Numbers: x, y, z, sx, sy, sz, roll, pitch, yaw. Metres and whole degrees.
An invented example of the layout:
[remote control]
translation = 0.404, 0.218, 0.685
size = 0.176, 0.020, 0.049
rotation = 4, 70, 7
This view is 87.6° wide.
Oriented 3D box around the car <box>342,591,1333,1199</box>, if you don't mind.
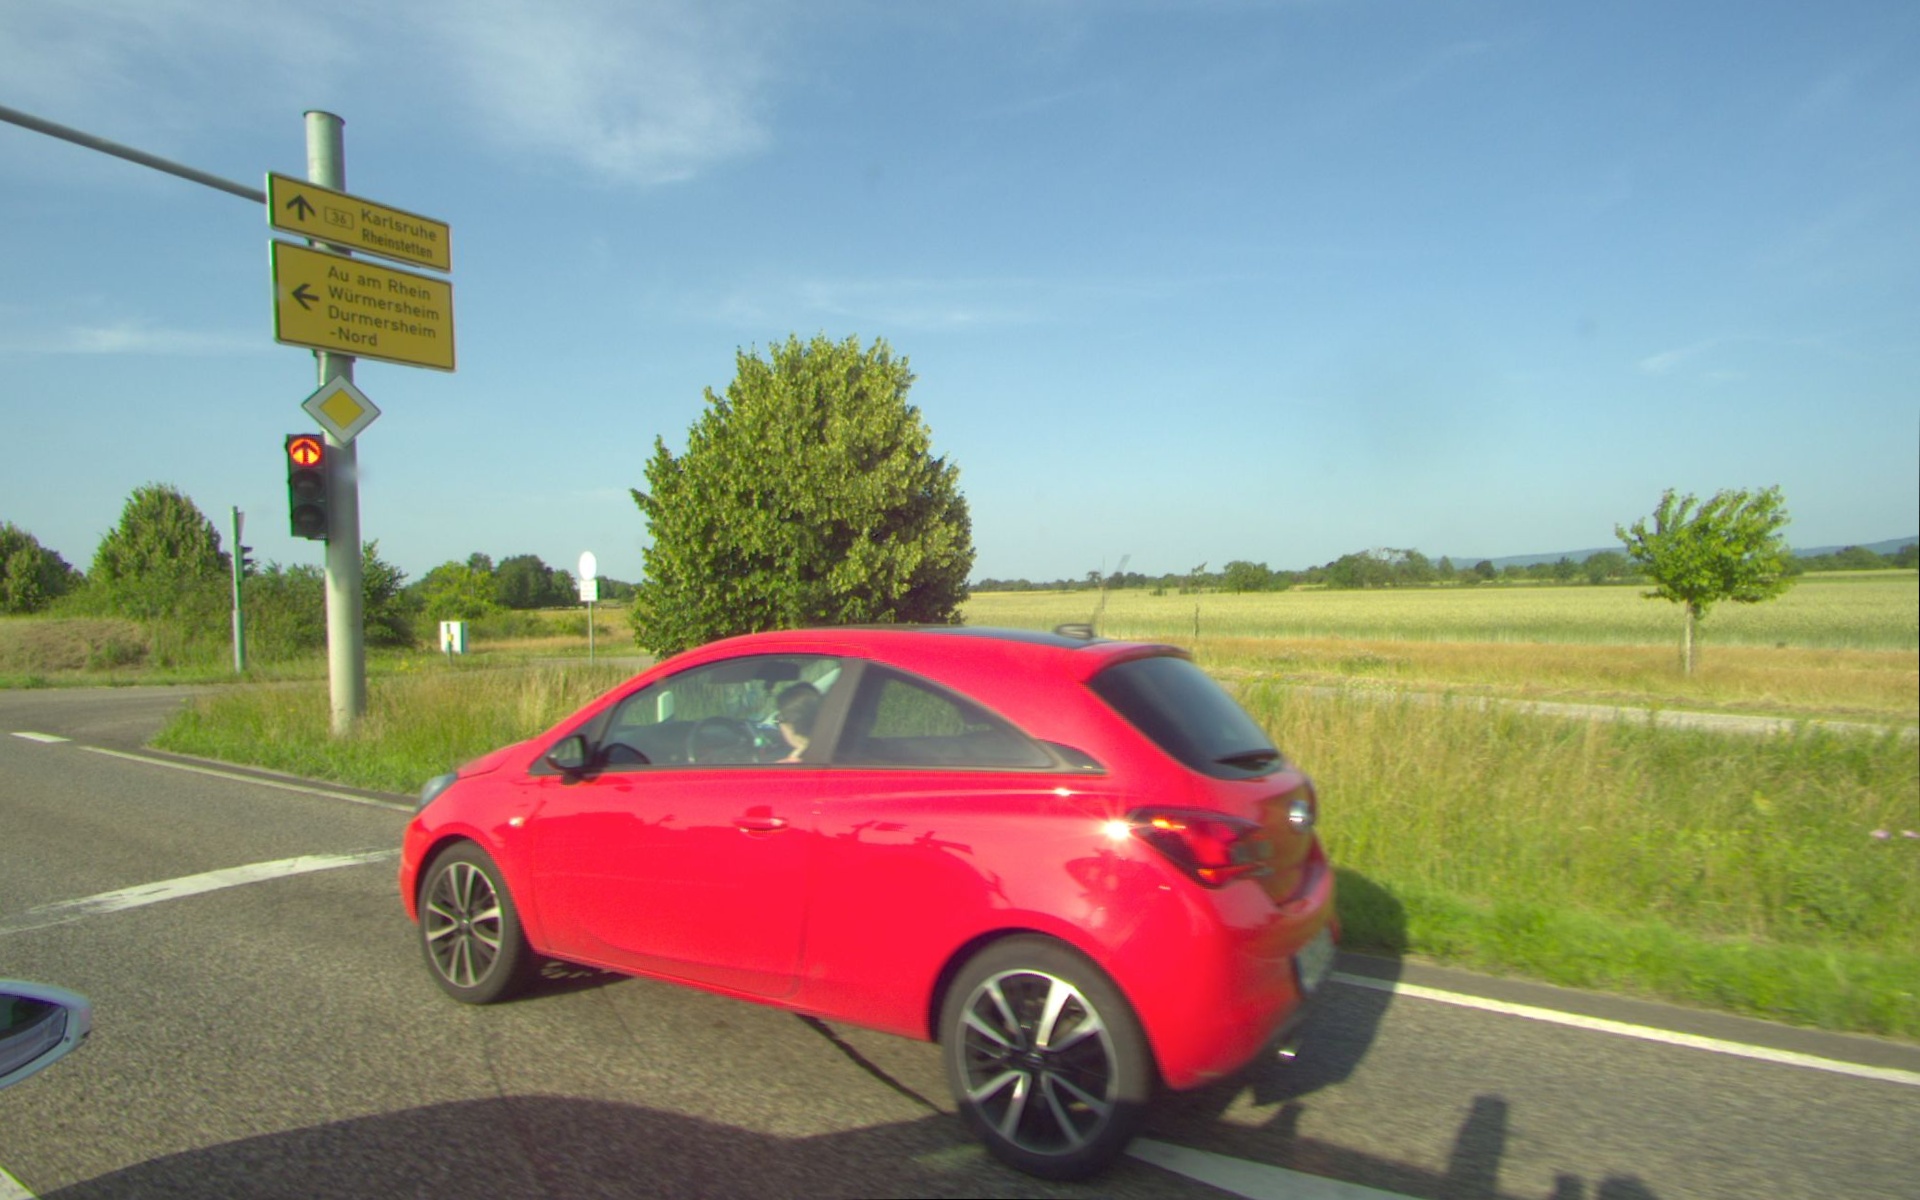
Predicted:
[car]
translation = -0.568, 0.781, 4.033
size = 3.693, 1.569, 1.695
rotation = 0, 0, 29
